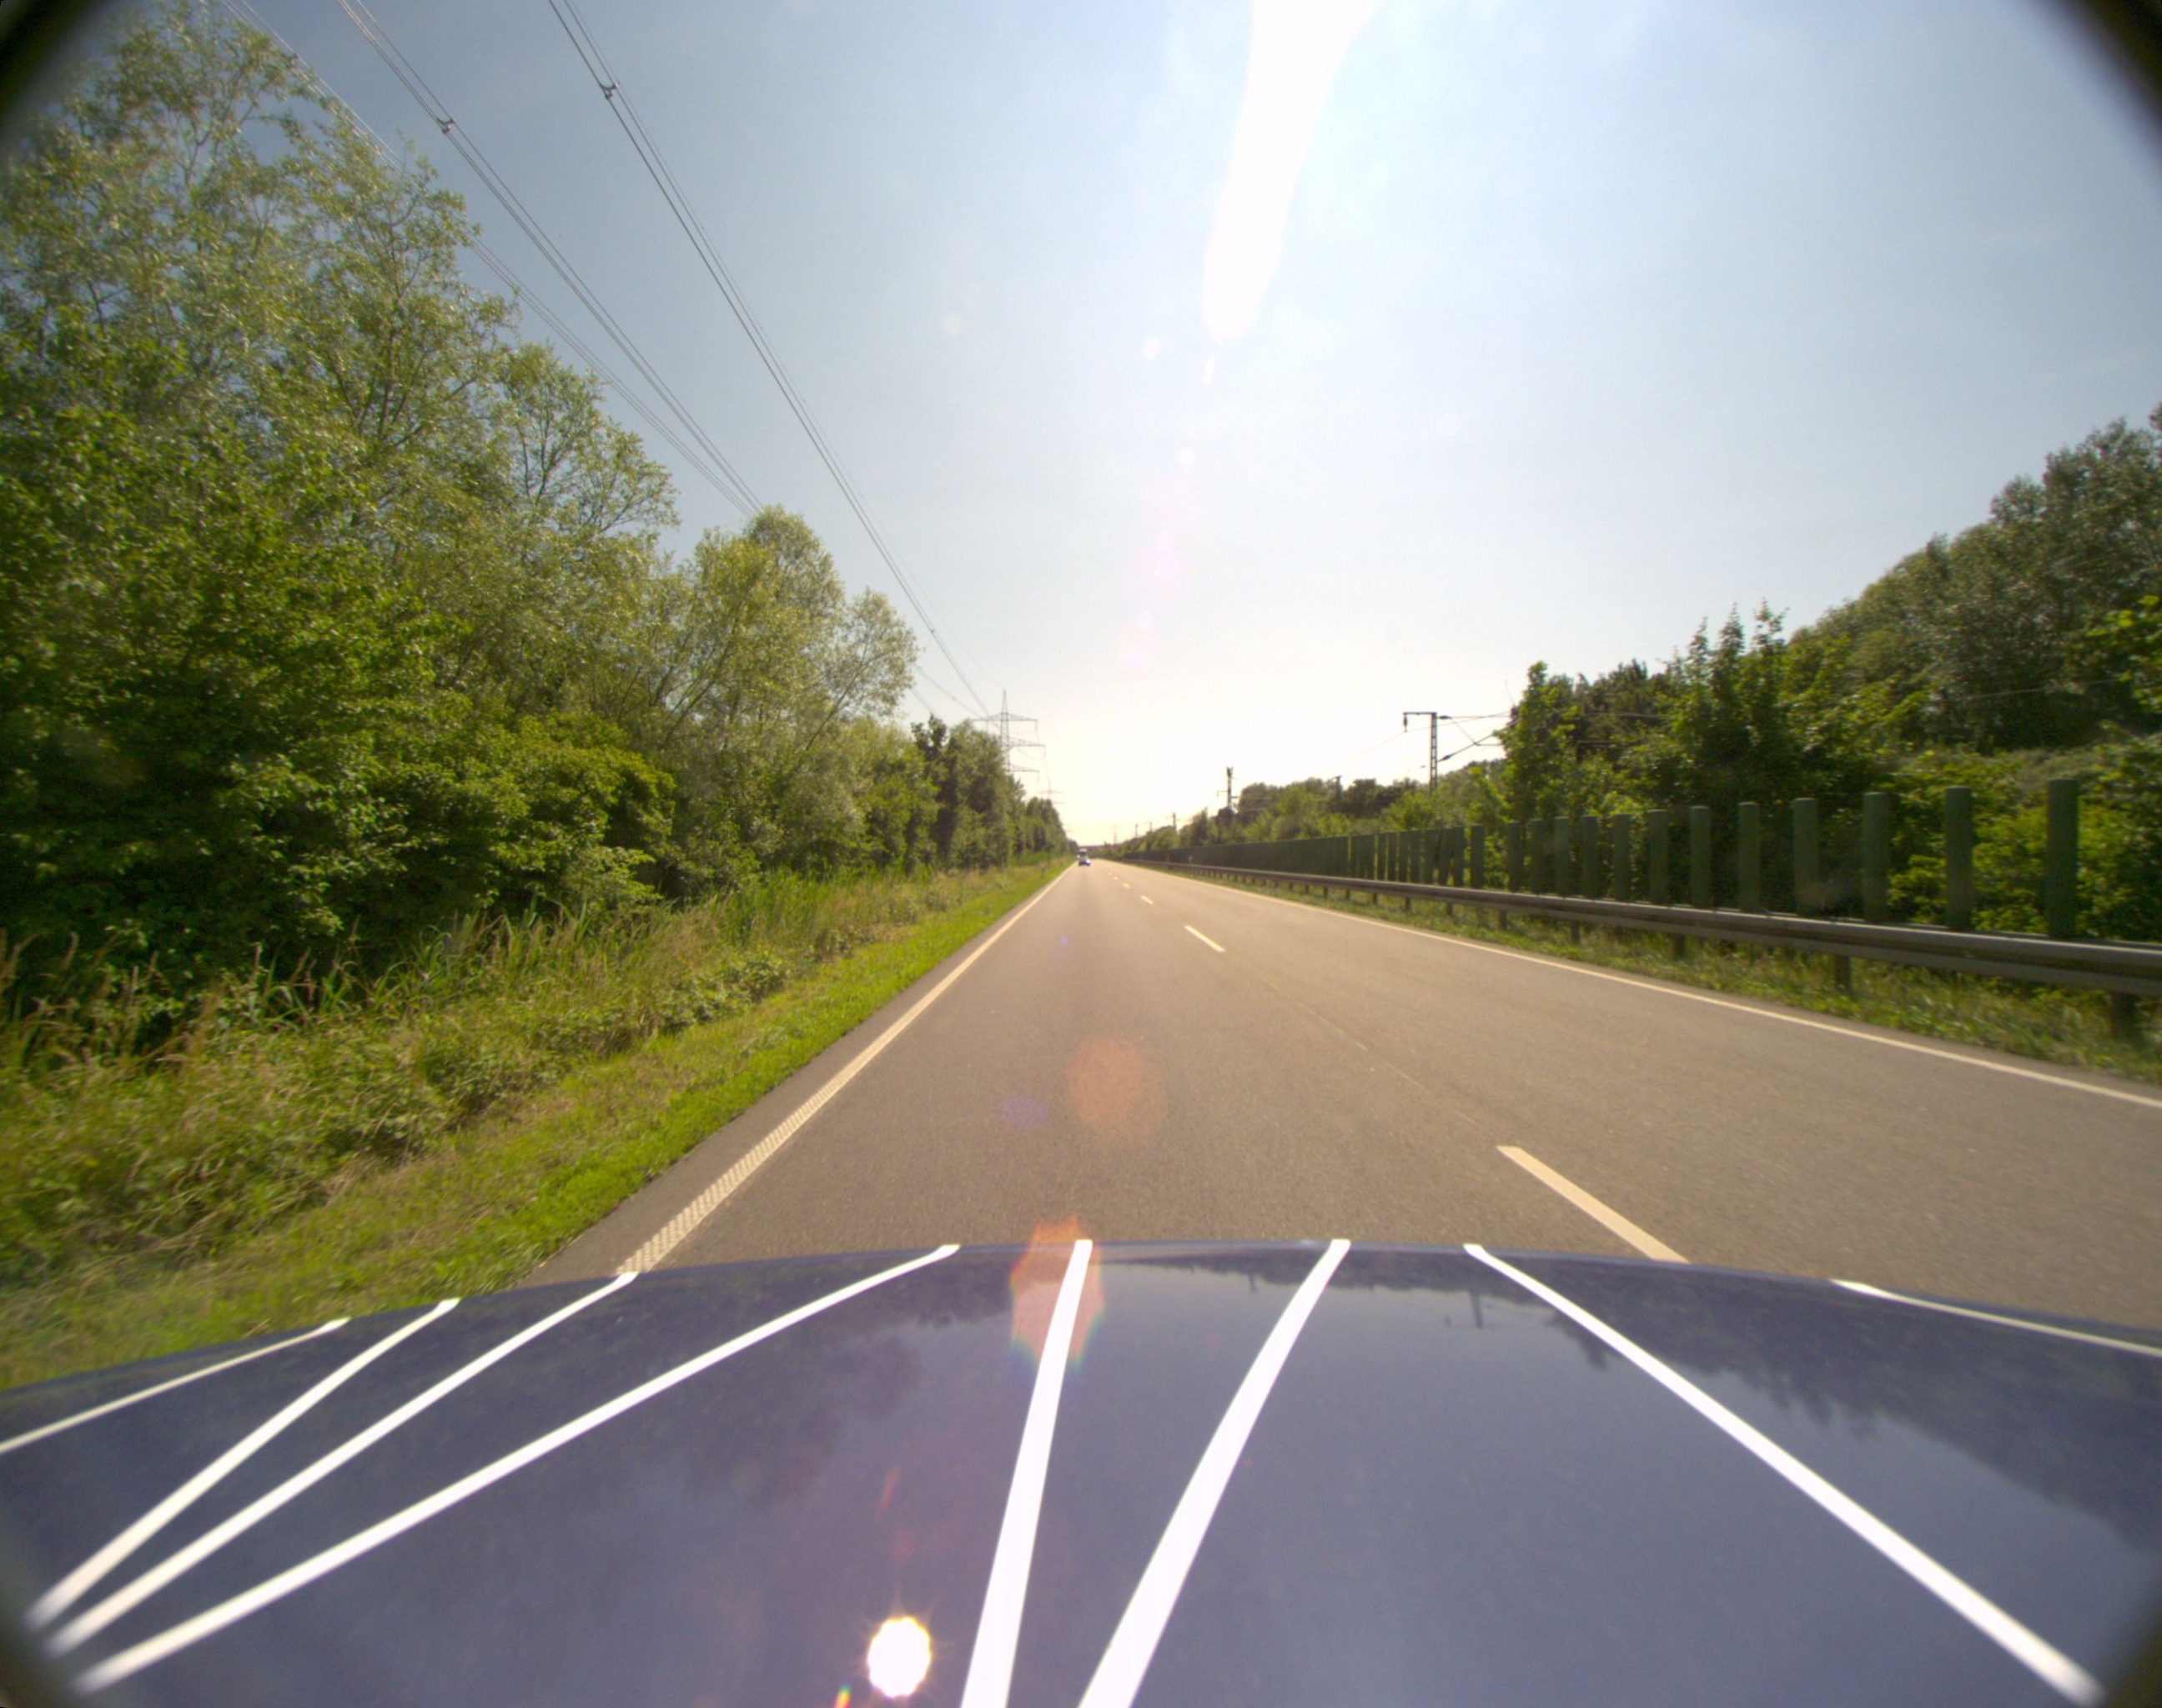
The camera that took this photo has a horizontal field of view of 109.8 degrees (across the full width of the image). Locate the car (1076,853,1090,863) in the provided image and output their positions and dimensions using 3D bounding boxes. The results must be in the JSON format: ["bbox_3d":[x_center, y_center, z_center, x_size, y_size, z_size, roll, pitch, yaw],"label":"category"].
[{"bbox_3d":[0.303,0.548,109.849,1.999,1.346,4.157,-2,1,0],"label":"car"}]
